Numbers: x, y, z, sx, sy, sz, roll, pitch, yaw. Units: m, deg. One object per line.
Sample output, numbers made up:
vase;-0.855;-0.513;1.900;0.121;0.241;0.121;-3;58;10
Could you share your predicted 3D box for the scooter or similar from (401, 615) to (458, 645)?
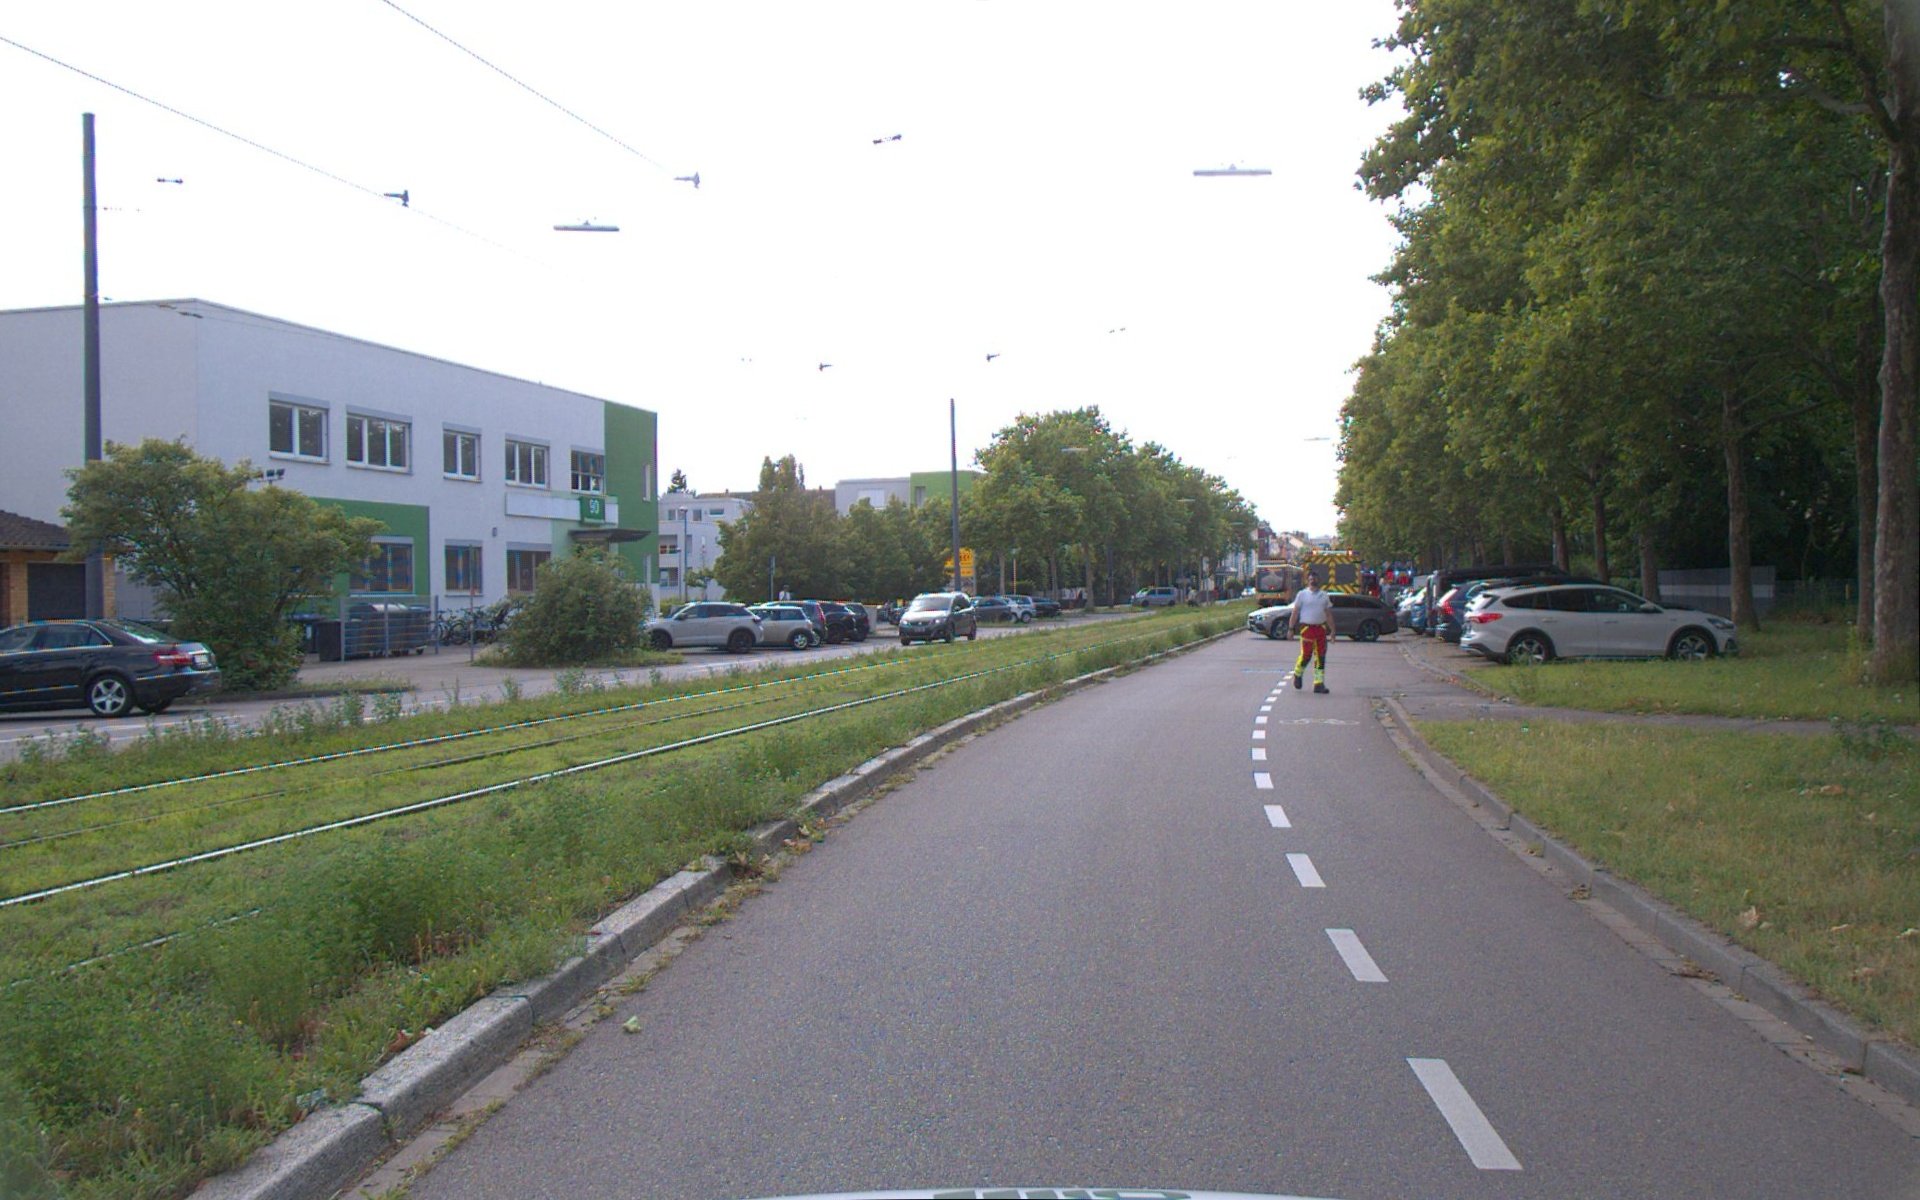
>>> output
scooter or similar;-16.614;0.933;51.810;1.698;0.915;0.459;1;-1;14

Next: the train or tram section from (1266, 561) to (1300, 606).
train or tram section;27.756;-1.345;142.022;2.458;3.647;7.451;-2;-1;13

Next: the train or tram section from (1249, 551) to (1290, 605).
train or tram section;22.578;-1.516;120.345;2.458;3.647;7.451;-2;-1;13

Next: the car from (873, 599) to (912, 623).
car;-5.168;0.807;127.316;1.951;1.780;4.003;1;1;14

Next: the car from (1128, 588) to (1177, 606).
car;19.023;-0.261;163.195;4.554;1.661;1.868;-1;0;-25

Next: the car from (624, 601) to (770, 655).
car;-8.110;0.840;50.962;4.160;1.508;1.872;-2;0;-20

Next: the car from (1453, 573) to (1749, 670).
car;11.164;0.375;29.114;4.559;1.499;1.849;-2;0;10

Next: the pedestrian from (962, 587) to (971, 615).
pedestrian;0.406;0.054;103.972;0.456;1.706;0.604;-1;0;12

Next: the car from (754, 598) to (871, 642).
car;-5.607;0.753;62.765;4.152;1.508;1.876;-2;0;-15

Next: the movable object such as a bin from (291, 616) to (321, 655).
movable object such as a bin;-18.317;0.991;46.312;0.556;1.060;0.565;1;1;15

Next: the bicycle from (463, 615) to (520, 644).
bicycle;-15.651;0.982;55.253;1.818;0.915;0.459;1;-1;14

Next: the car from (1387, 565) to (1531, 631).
car;17.007;-0.065;56.578;4.448;2.036;1.857;-2;0;10

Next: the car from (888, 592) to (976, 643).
car;-0.907;0.563;56.828;1.951;1.585;4.374;-2;0;13

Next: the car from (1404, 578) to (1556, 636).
car;16.912;0.229;53.983;4.448;1.689;1.857;-2;0;10

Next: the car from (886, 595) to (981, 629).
car;-1.254;0.548;76.644;4.145;1.508;1.878;0;0;-11

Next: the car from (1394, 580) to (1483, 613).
car;26.036;-0.178;90.200;4.448;1.636;1.857;-2;0;10

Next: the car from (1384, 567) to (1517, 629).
car;18.055;-0.061;61.056;4.448;2.079;1.857;-2;0;10

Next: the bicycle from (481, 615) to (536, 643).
bicycle;-15.352;0.968;56.268;1.818;0.915;0.459;1;-1;14

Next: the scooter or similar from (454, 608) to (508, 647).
scooter or similar;-14.937;0.857;51.578;1.284;1.176;1.087;0;-1;43

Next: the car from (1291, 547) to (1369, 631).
car;14.391;-0.437;64.086;2.585;3.018;6.304;2;1;15

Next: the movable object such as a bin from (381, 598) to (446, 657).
movable object such as a bin;-15.155;0.752;45.920;0.984;1.546;1.605;1;1;16

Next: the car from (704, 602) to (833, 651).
car;-6.574;0.878;56.747;4.152;1.508;1.876;-2;0;-15

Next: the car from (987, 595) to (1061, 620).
car;3.873;0.454;100.404;4.169;1.508;1.868;0;0;-26

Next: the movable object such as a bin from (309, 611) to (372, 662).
movable object such as a bin;-16.018;0.940;42.802;0.984;1.255;1.257;1;1;16

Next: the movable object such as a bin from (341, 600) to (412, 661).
movable object such as a bin;-15.603;0.811;44.282;0.984;1.546;1.713;1;1;16

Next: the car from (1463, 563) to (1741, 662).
car;12.007;0.229;31.217;4.559;1.654;1.849;-2;0;10

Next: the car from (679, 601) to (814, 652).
car;-6.971;0.841;53.936;4.152;1.508;1.876;-2;0;-15

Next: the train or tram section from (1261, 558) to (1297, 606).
train or tram section;26.030;-1.402;134.830;2.458;3.647;7.451;-2;-1;13

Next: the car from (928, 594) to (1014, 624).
car;0.583;0.471;86.646;4.162;1.508;1.871;0;0;-22

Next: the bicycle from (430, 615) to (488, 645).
bicycle;-16.127;0.966;53.261;1.818;0.915;0.459;1;-1;14

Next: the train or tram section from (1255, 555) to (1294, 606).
train or tram section;24.298;-1.459;127.582;2.458;3.647;7.451;-2;-1;13

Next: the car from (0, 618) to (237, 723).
car;-13.613;1.072;24.975;4.546;1.432;1.881;-2;-1;-6

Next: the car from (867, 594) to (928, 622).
car;-4.238;0.515;112.149;1.985;1.780;3.935;0;1;-44

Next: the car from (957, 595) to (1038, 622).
car;2.078;0.461;92.388;4.162;1.508;1.871;0;0;-22

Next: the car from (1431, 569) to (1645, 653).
car;12.653;0.256;36.481;4.288;1.668;1.757;-2;0;16

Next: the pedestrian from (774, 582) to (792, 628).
pedestrian;-7.095;0.196;66.357;0.534;1.860;0.509;-1;0;12

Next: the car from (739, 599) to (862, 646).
car;-5.756;0.797;59.666;4.152;1.508;1.876;-2;0;-15

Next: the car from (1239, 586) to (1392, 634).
car;10.950;0.304;51.129;4.362;1.409;1.766;1;0;-1

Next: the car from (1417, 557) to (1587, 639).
car;15.553;-0.049;47.674;4.449;2.160;1.857;-2;0;14

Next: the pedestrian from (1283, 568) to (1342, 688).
pedestrian;5.153;0.402;24.229;0.786;1.716;0.852;0;0;9

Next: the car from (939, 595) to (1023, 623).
car;1.130;0.481;89.488;4.162;1.508;1.871;0;0;-22

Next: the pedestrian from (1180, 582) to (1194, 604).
pedestrian;16.126;-0.504;117.501;0.862;1.552;0.751;1;-1;13

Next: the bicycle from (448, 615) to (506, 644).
bicycle;-15.877;0.975;54.380;1.818;0.915;0.459;1;-1;14

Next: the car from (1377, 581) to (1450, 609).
car;29.582;-0.312;107.976;4.448;1.636;1.857;-2;0;10
